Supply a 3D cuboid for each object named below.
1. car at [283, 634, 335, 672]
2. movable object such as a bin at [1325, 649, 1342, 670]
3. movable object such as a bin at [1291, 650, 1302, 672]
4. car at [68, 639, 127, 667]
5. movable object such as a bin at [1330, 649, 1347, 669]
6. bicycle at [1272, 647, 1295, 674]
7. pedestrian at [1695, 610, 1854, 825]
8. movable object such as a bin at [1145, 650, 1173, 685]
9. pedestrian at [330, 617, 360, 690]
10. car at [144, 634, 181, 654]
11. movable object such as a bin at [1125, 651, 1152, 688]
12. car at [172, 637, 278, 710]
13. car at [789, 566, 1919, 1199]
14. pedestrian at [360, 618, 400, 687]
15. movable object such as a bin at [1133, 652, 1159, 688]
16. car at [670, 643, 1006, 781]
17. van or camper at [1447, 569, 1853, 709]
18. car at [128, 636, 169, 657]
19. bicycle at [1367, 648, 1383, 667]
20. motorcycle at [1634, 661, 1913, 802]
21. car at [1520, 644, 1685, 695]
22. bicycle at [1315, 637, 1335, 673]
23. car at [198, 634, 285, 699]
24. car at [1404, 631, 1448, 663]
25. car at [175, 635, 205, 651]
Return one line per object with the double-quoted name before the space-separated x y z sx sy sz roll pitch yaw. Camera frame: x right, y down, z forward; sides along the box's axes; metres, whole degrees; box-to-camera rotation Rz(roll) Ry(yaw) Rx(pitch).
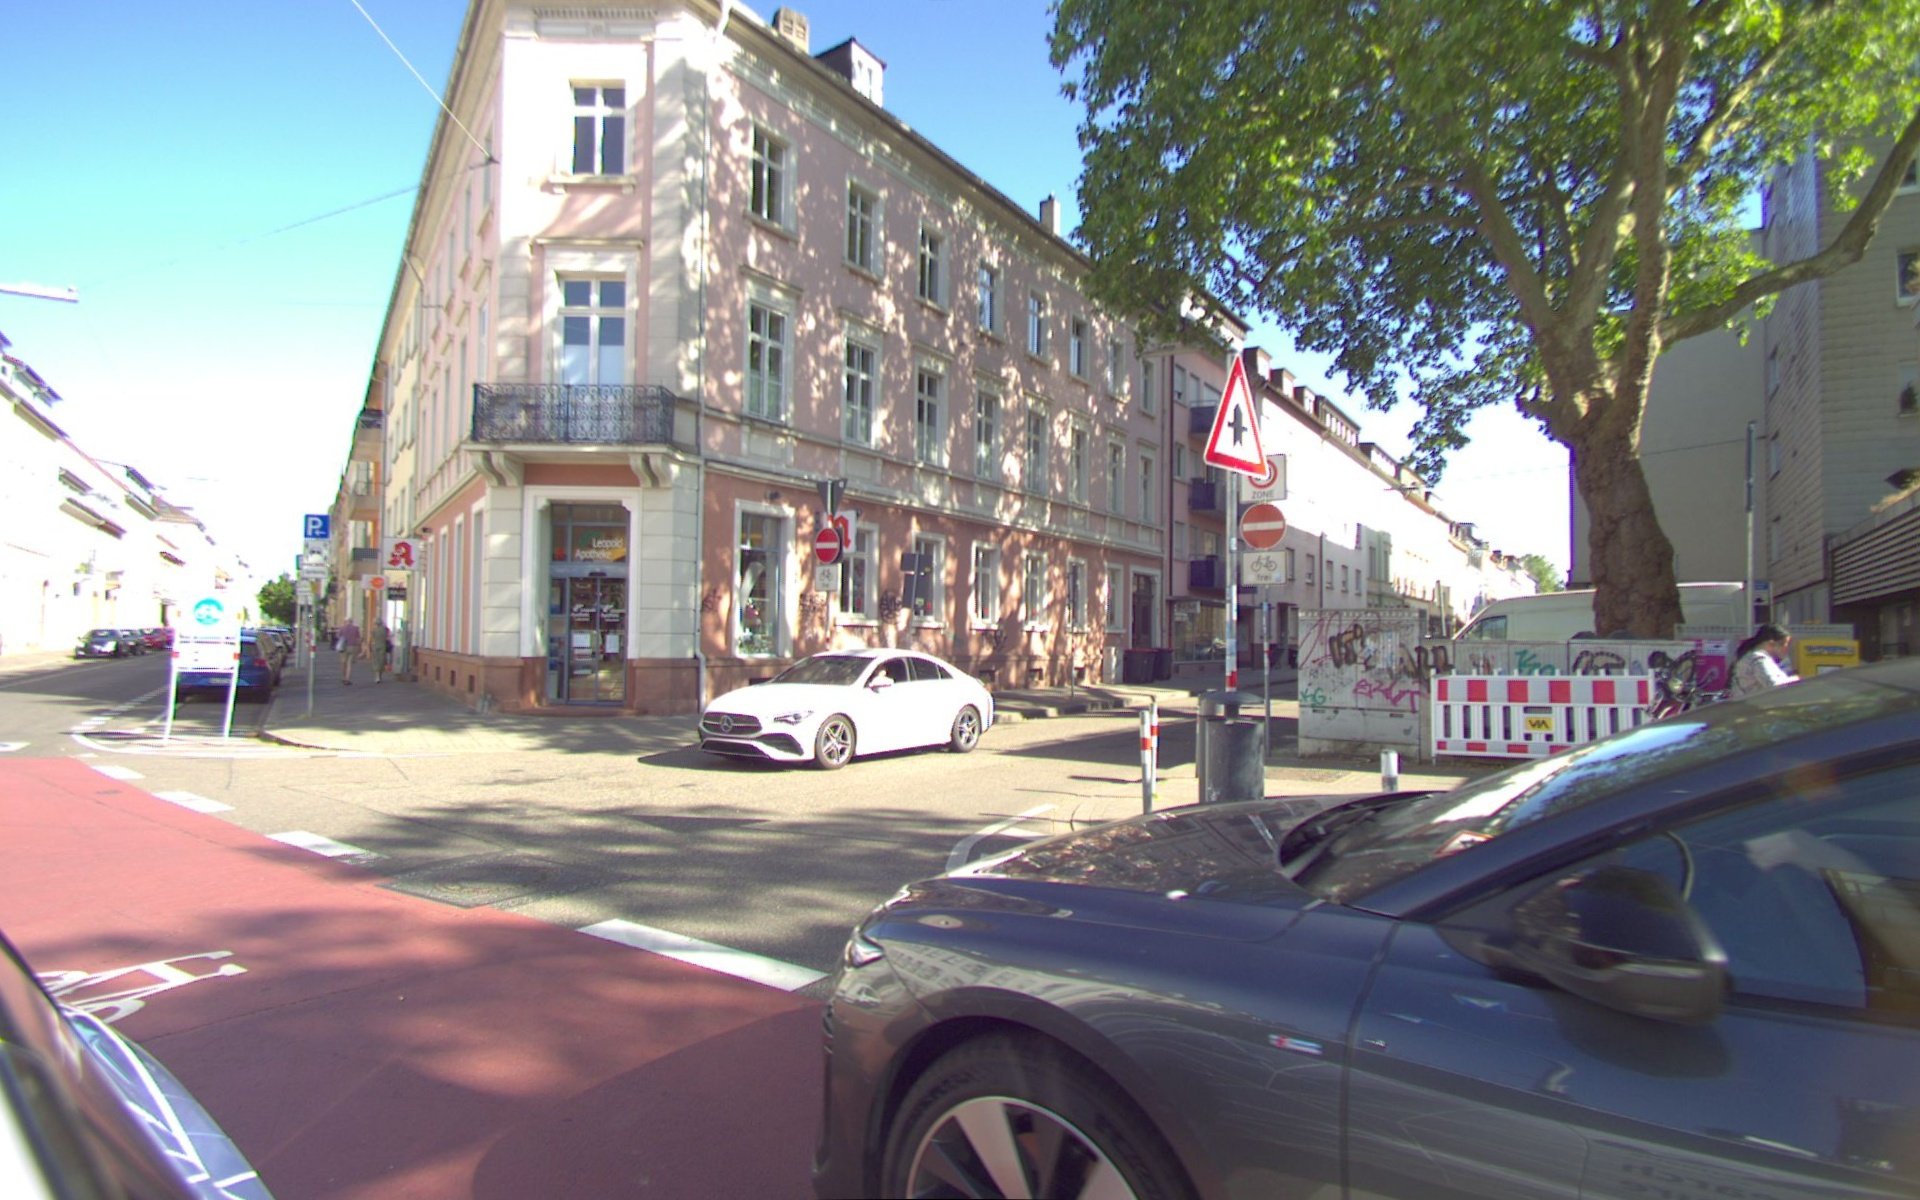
"car" -27.444 2.210 42.659 1.678 1.444 3.649 5 -3 -33
"movable object such as a bin" 19.397 3.072 52.517 0.715 1.010 0.540 2 -1 33
"movable object such as a bin" 15.585 2.825 46.894 0.415 0.947 0.298 2 -1 33
"car" -41.561 2.547 48.836 1.678 1.309 3.649 2 -3 -33
"movable object such as a bin" 19.873 3.079 53.174 0.715 1.010 0.540 2 -1 33
"bicycle" 14.343 2.652 44.880 0.402 1.159 2.001 -1 -3 34
"pedestrian" 6.555 0.916 8.202 0.845 1.585 0.836 -5 -1 36
"movable object such as a bin" 6.520 2.200 33.148 0.716 1.092 0.612 2 -1 33
"pedestrian" -16.088 1.380 26.469 0.561 1.871 0.709 -1 -1 -25
"car" -55.976 3.090 71.095 1.678 1.309 3.649 2 -3 -33
"movable object such as a bin" 5.459 2.124 30.952 0.569 1.092 0.647 2 -1 33
"car" -16.599 1.627 23.005 1.678 1.444 3.649 5 -3 -33
"car" 2.028 0.731 1.460 4.570 1.465 1.891 -1 -4 38
"pedestrian" -15.473 1.387 27.000 0.816 1.778 0.754 -2 0 -25
"movable object such as a bin" 5.780 2.165 31.458 0.569 1.066 0.605 2 -1 33
"car" -1.371 1.311 13.238 1.859 1.468 4.509 -2 -3 34
"van or camper" 14.697 1.005 22.177 6.912 2.594 1.976 -5 -6 35
"car" -51.602 2.946 64.392 1.678 1.309 3.649 2 -3 -33
"bicycle" 24.175 3.349 58.907 0.489 1.104 1.910 -1 -3 34
"motorcycle" 7.475 1.178 9.447 1.917 1.189 0.662 -3 -4 35
"car" 20.854 2.243 33.068 4.399 1.545 1.682 -1 -3 29
"bicycle" 18.500 2.778 51.280 0.402 1.749 2.082 -1 -3 34
"car" -19.402 1.762 27.467 1.678 1.549 3.649 5 -3 -33
"car" 28.960 2.909 62.881 1.762 1.868 4.276 -2 -3 35
"car" -65.192 3.599 85.718 1.678 1.309 3.649 2 -3 -33
